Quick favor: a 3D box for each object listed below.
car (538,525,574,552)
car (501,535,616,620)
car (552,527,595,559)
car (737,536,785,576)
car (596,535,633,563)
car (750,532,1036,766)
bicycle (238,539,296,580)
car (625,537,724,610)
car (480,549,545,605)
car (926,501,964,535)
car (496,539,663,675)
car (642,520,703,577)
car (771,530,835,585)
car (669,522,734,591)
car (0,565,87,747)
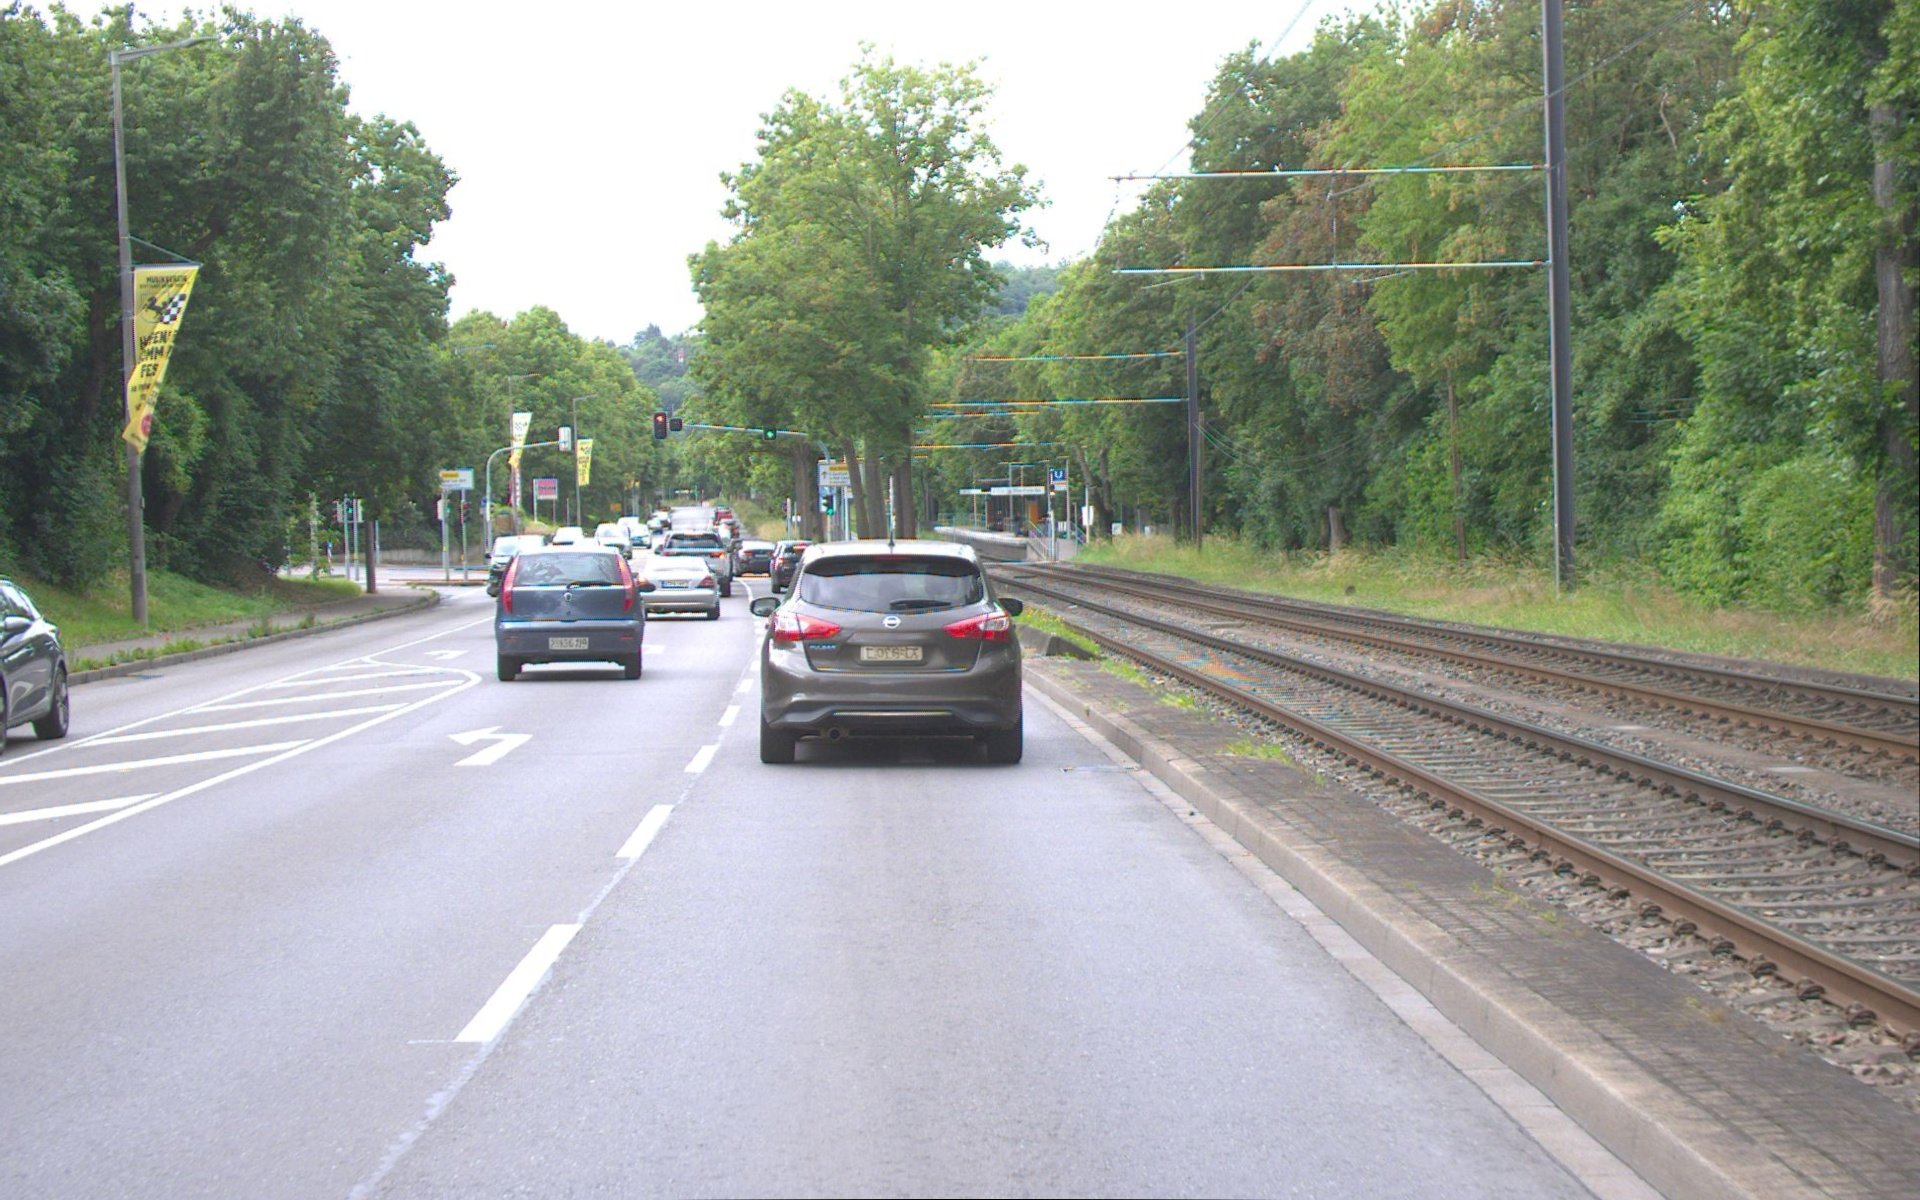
[{"bbox_3d":[-24.162,-3.668,205.843,1.715,1.545,4.000,0,1,-1],"label":"car"},{"bbox_3d":[-6.994,-0.402,60.163,1.715,1.430,4.000,-1,1,-3],"label":"car"},{"bbox_3d":[-19.302,-2.842,171.897,1.715,1.545,4.000,0,1,-1],"label":"car"},{"bbox_3d":[-7.889,-1.740,136.537,1.715,1.545,4.000,0,1,-1],"label":"car"},{"bbox_3d":[-19.229,-2.851,191.604,1.715,1.545,4.000,0,1,-1],"label":"car"},{"bbox_3d":[-0.445,0.279,24.299,1.850,1.488,4.000,0,1,0],"label":"car"},{"bbox_3d":[-19.356,-1.136,96.063,0.499,1.104,1.797,0,1,30],"label":"bicycle"},{"bbox_3d":[-5.798,-0.540,70.110,1.715,1.430,4.000,0,1,-1],"label":"car"},{"bbox_3d":[-14.253,-0.738,109.603,1.715,1.754,4.000,0,1,-3],"label":"car"},{"bbox_3d":[-0.773,-4.062,170.696,1.715,1.657,3.708,-1,1,-3],"label":"car"},{"bbox_3d":[-4.269,0.038,39.026,1.699,1.438,4.001,-1,1,-4],"label":"car"},{"bbox_3d":[-9.557,-1.708,114.442,1.715,1.857,4.000,0,1,-1],"label":"car"},{"bbox_3d":[-4.544,-1.234,100.140,1.715,1.545,4.000,0,1,-1],"label":"car"},{"bbox_3d":[-7.212,-1.214,96.052,1.715,1.857,4.001,-1,1,-3],"label":"car"},{"bbox_3d":[-8.457,0.468,27.935,1.841,1.371,4.448,-3,1,-4],"label":"car"}]
